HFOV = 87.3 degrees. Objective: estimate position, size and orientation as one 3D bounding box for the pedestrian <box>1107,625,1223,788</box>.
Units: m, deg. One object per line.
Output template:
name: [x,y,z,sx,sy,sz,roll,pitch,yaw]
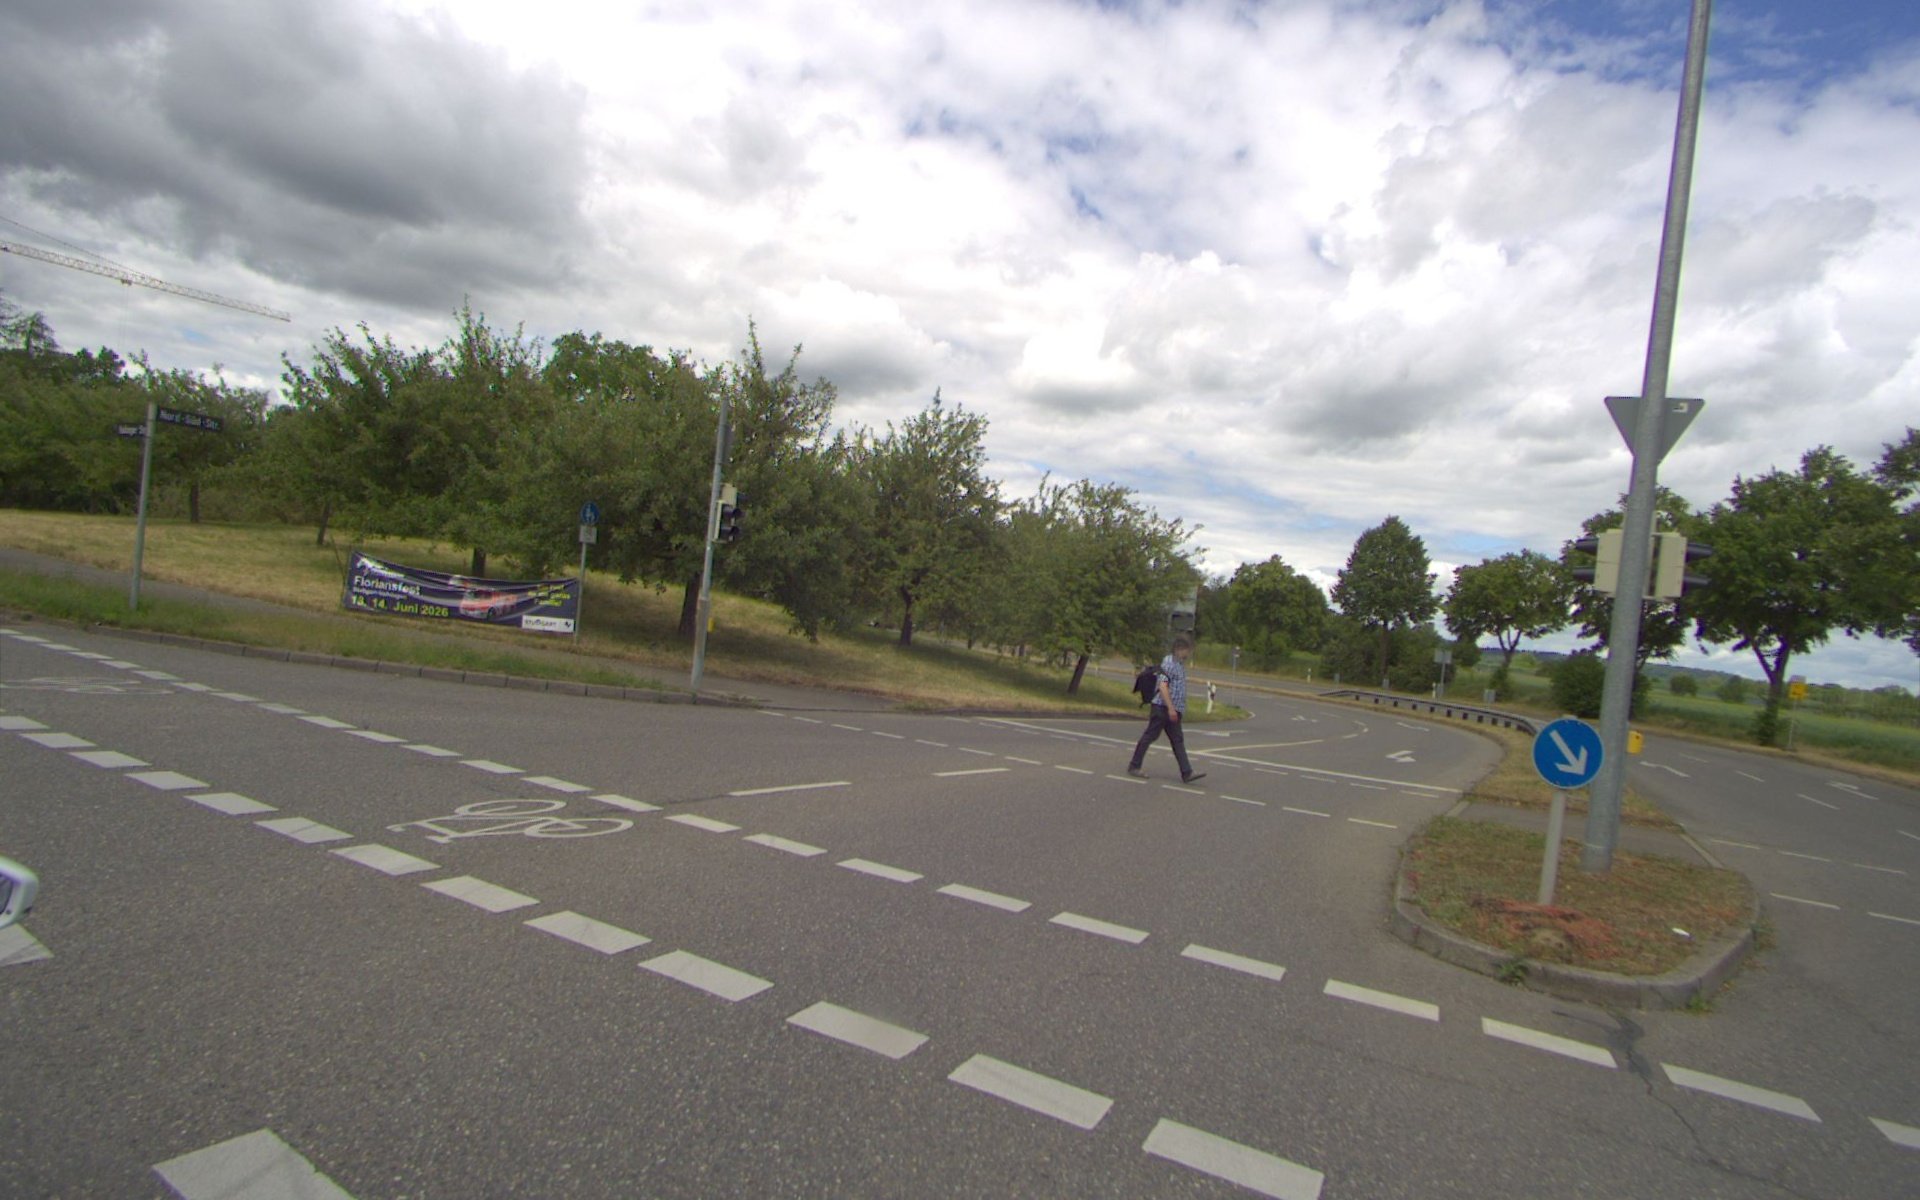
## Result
pedestrian: [2.515,1.291,12.339,1.026,1.814,0.719,6,-1,31]
